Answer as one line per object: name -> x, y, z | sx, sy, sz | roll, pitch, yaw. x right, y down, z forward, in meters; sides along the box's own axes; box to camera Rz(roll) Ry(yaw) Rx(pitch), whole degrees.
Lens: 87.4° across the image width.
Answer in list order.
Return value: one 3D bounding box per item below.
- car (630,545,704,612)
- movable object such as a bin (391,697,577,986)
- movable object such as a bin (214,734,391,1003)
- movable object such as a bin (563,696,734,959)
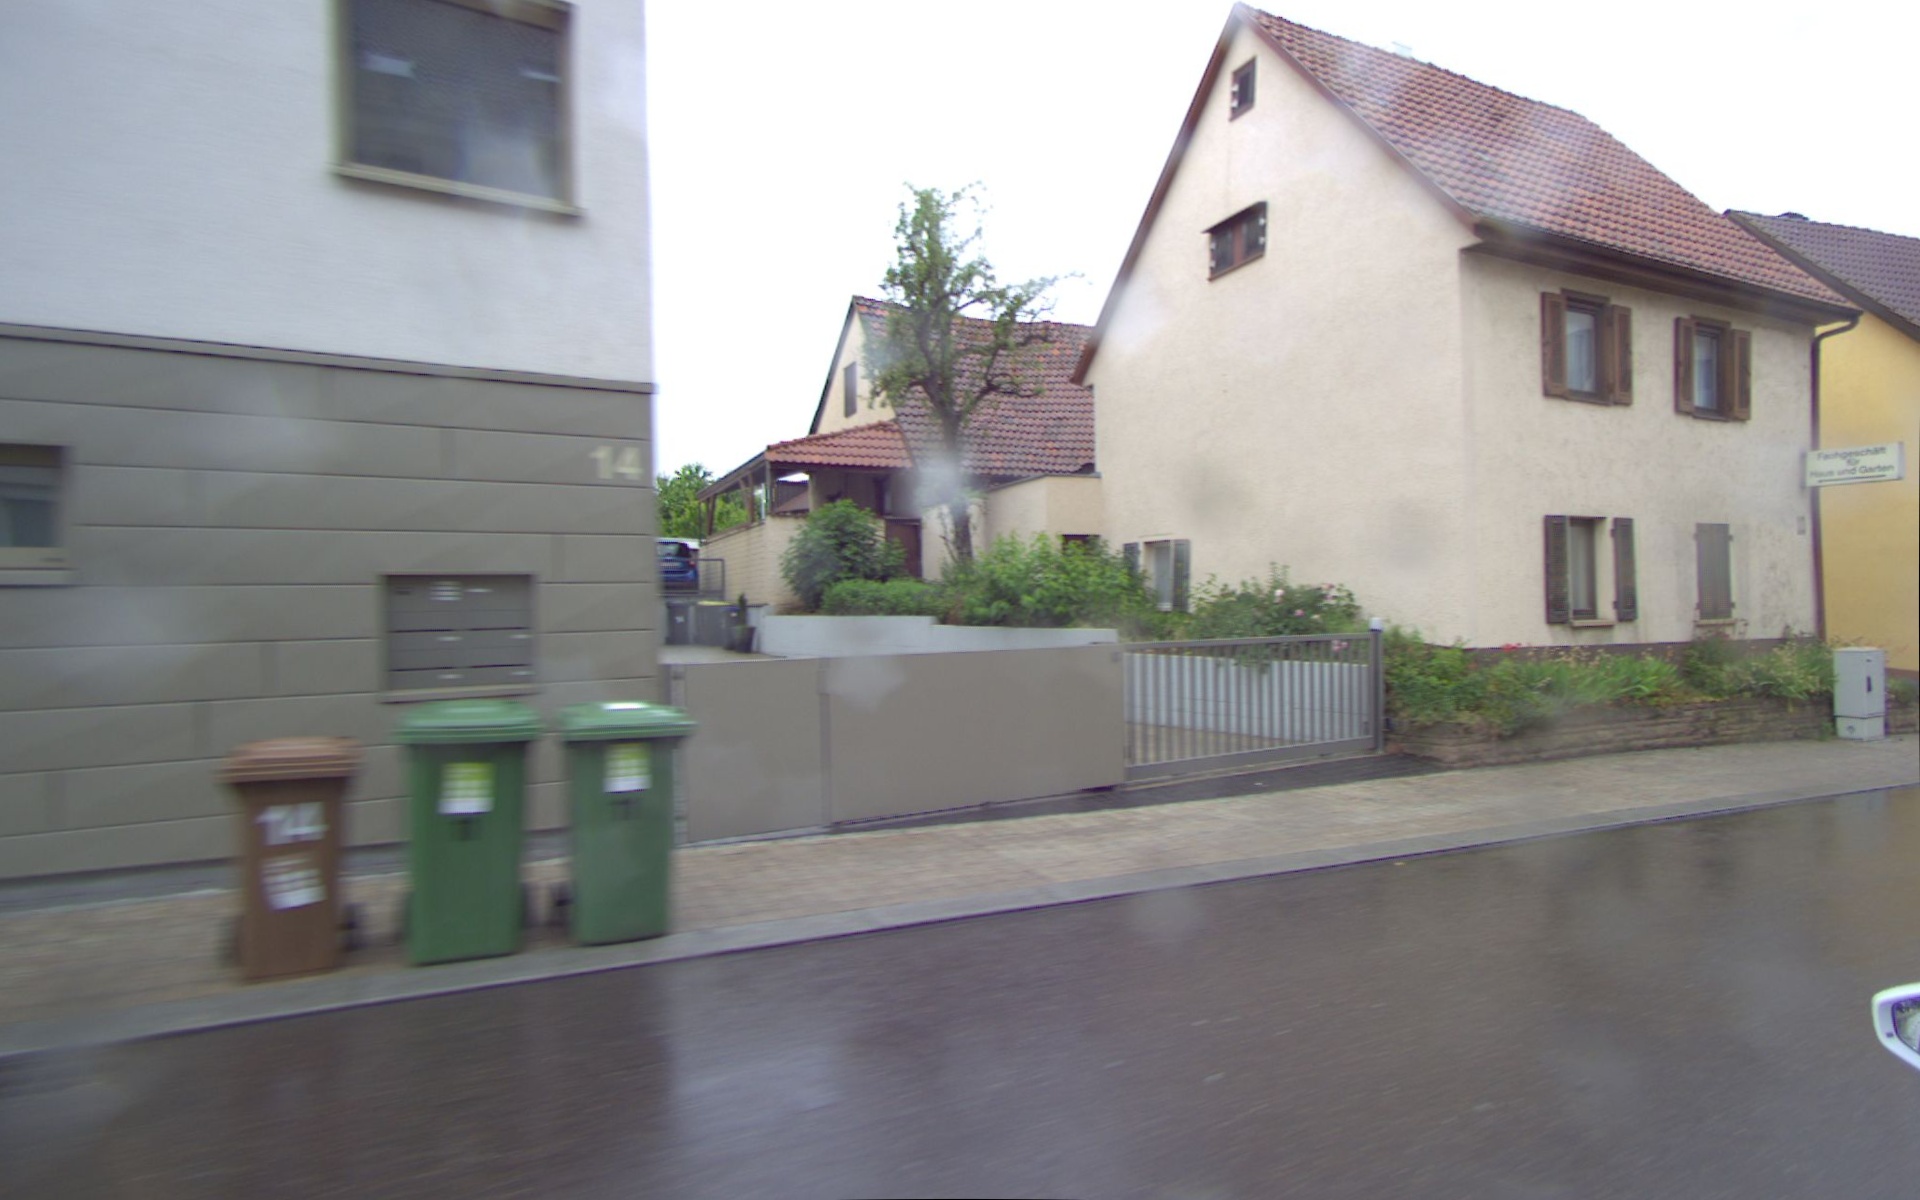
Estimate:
car -> -8.421, -0.553, 28.713 | 1.568, 1.740, 3.670 | 1, -1, -24
movable object such as a bin -> -2.131, 1.014, 4.500 | 0.686, 1.080, 0.679 | 1, 0, -28
movable object such as a bin -> -2.719, 1.075, 4.201 | 0.572, 0.935, 0.503 | 1, 0, -30
movable object such as a bin -> -1.500, 1.029, 4.798 | 0.653, 1.059, 0.679 | 1, 0, -28
